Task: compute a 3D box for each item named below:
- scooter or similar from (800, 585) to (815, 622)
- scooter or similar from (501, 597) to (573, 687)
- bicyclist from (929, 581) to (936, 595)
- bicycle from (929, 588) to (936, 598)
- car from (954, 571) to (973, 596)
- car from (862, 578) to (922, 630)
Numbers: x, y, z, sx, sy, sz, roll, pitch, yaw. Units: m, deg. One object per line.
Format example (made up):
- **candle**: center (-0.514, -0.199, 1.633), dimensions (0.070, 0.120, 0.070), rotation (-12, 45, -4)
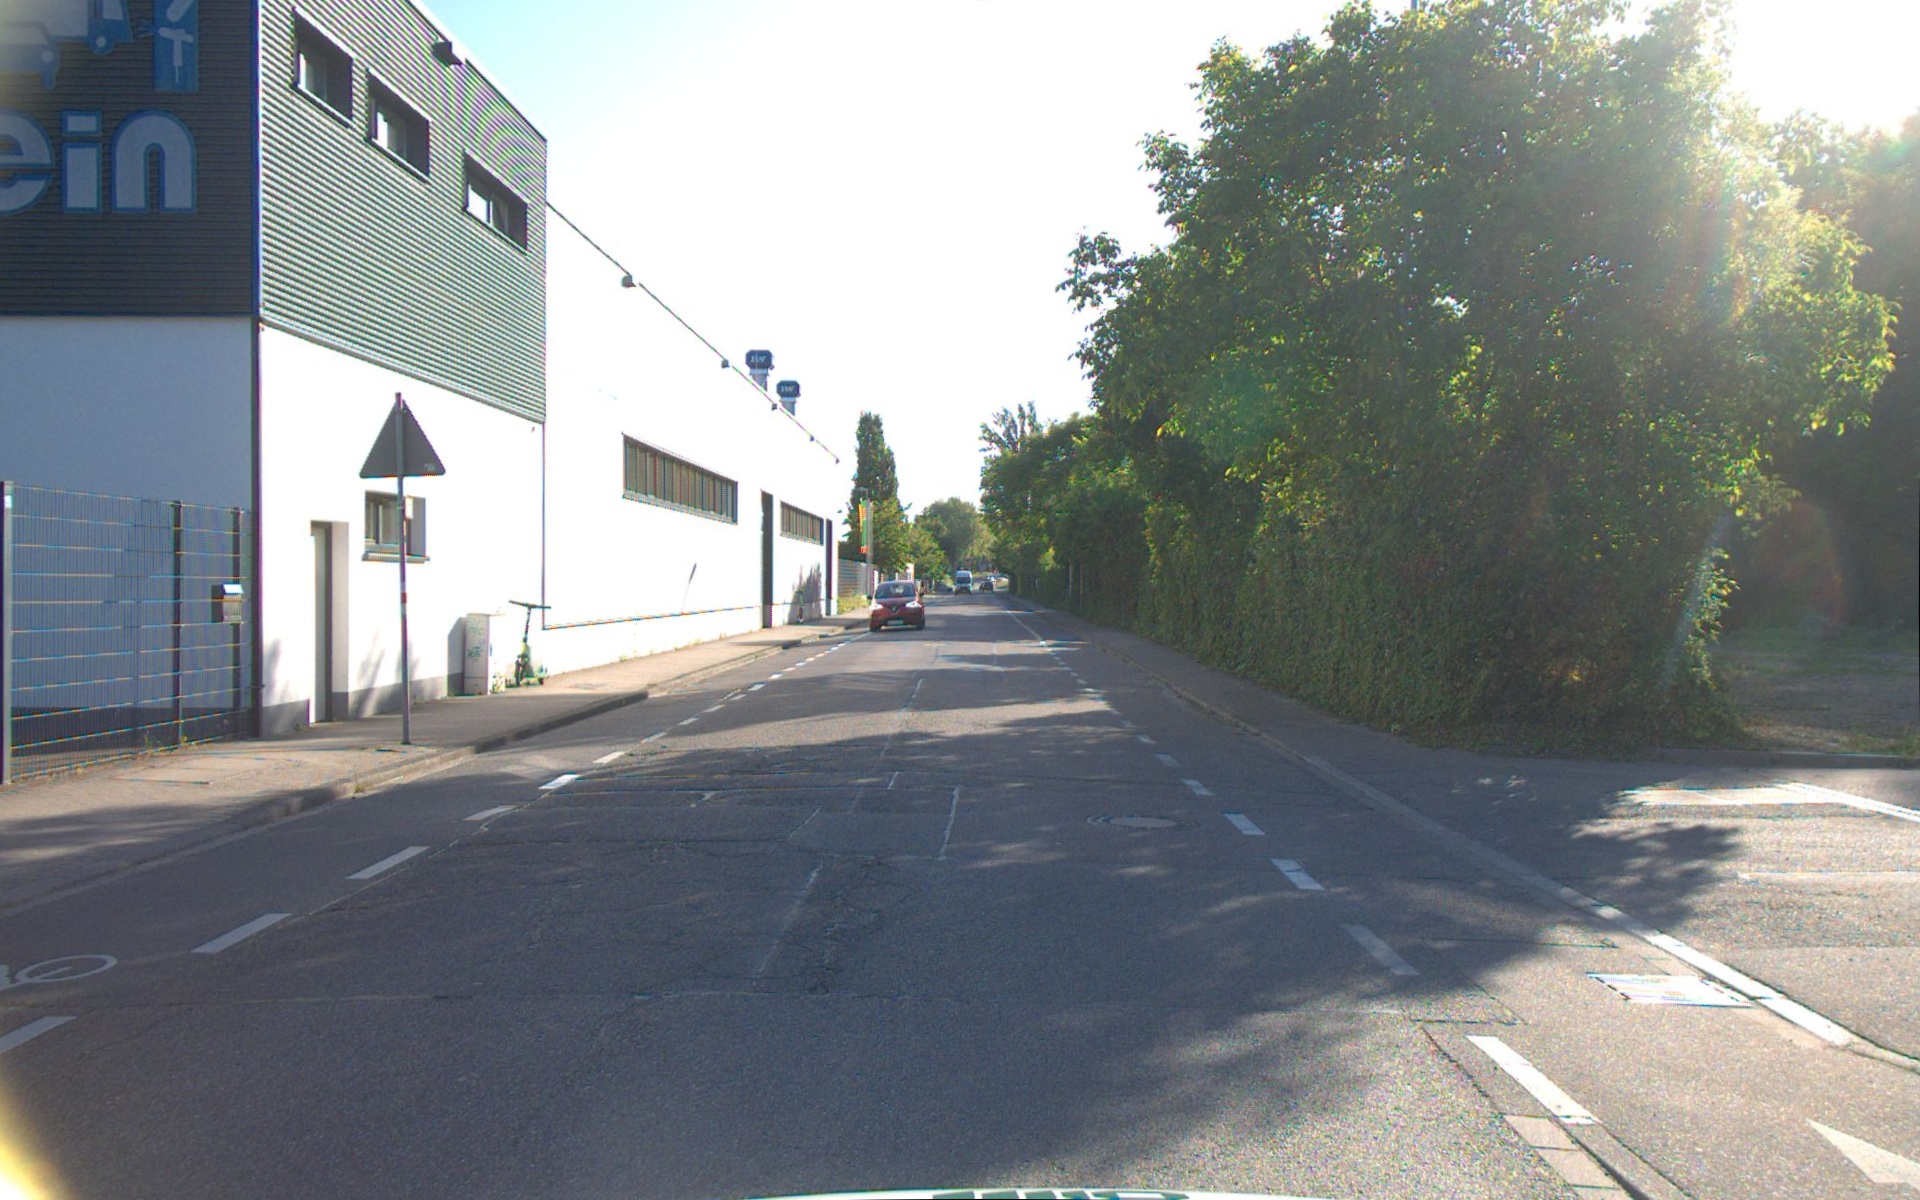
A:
- **scooter or similar**: center (-5.360, 0.108, 58.211), dimensions (0.407, 1.289, 1.060), rotation (0, 1, 0)
- **scooter or similar**: center (-6.083, 0.583, 23.858), dimensions (0.496, 1.224, 1.753), rotation (3, 0, 1)
- **bicyclist**: center (-3.087, -1.385, 186.556), dimensions (0.675, 1.558, 0.722), rotation (2, 0, 0)
- **bicycle**: center (-3.106, -0.826, 186.471), dimensions (0.675, 1.052, 1.351), rotation (2, 1, 1)
- **car**: center (0.423, -1.968, 193.952), dimensions (2.079, 2.829, 5.927), rotation (-2, 0, 1)
- **car**: center (-2.166, 0.119, 53.703), dimensions (1.781, 1.515, 3.999), rotation (-3, 0, -1)
